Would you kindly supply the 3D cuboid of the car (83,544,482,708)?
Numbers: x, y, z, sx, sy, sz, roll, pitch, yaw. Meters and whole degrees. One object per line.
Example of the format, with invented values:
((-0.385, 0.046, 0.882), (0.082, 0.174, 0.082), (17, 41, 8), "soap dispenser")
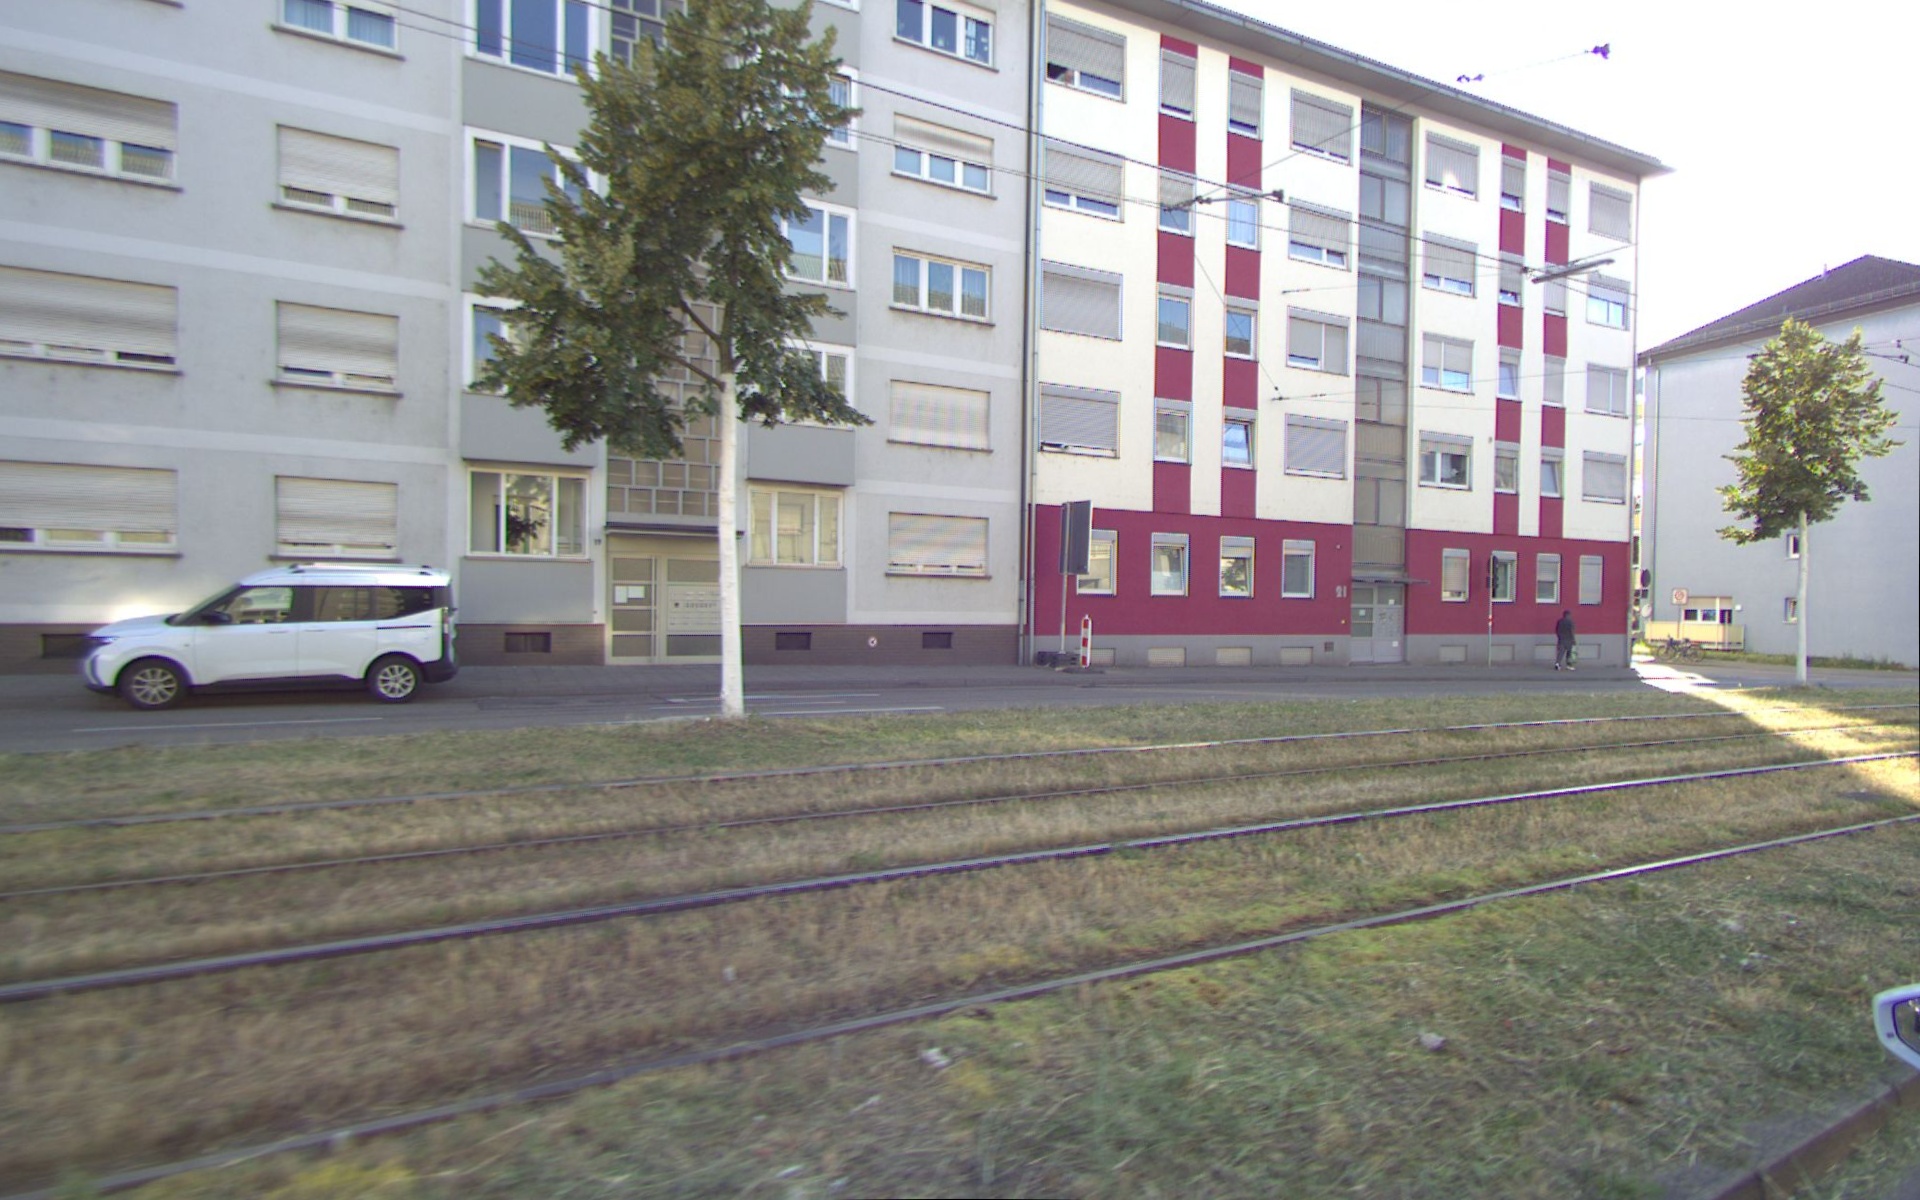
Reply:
((-9.185, 0.320, 14.117), (4.367, 1.854, 1.858), (1, 7, -29), "car")

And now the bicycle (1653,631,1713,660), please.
((30.587, 1.915, 42.522), (0.598, 1.090, 1.940), (2, 0, -37), "bicycle")

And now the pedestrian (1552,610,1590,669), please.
((18.301, 1.181, 30.086), (0.781, 1.712, 0.611), (1, 1, -26), "pedestrian")
